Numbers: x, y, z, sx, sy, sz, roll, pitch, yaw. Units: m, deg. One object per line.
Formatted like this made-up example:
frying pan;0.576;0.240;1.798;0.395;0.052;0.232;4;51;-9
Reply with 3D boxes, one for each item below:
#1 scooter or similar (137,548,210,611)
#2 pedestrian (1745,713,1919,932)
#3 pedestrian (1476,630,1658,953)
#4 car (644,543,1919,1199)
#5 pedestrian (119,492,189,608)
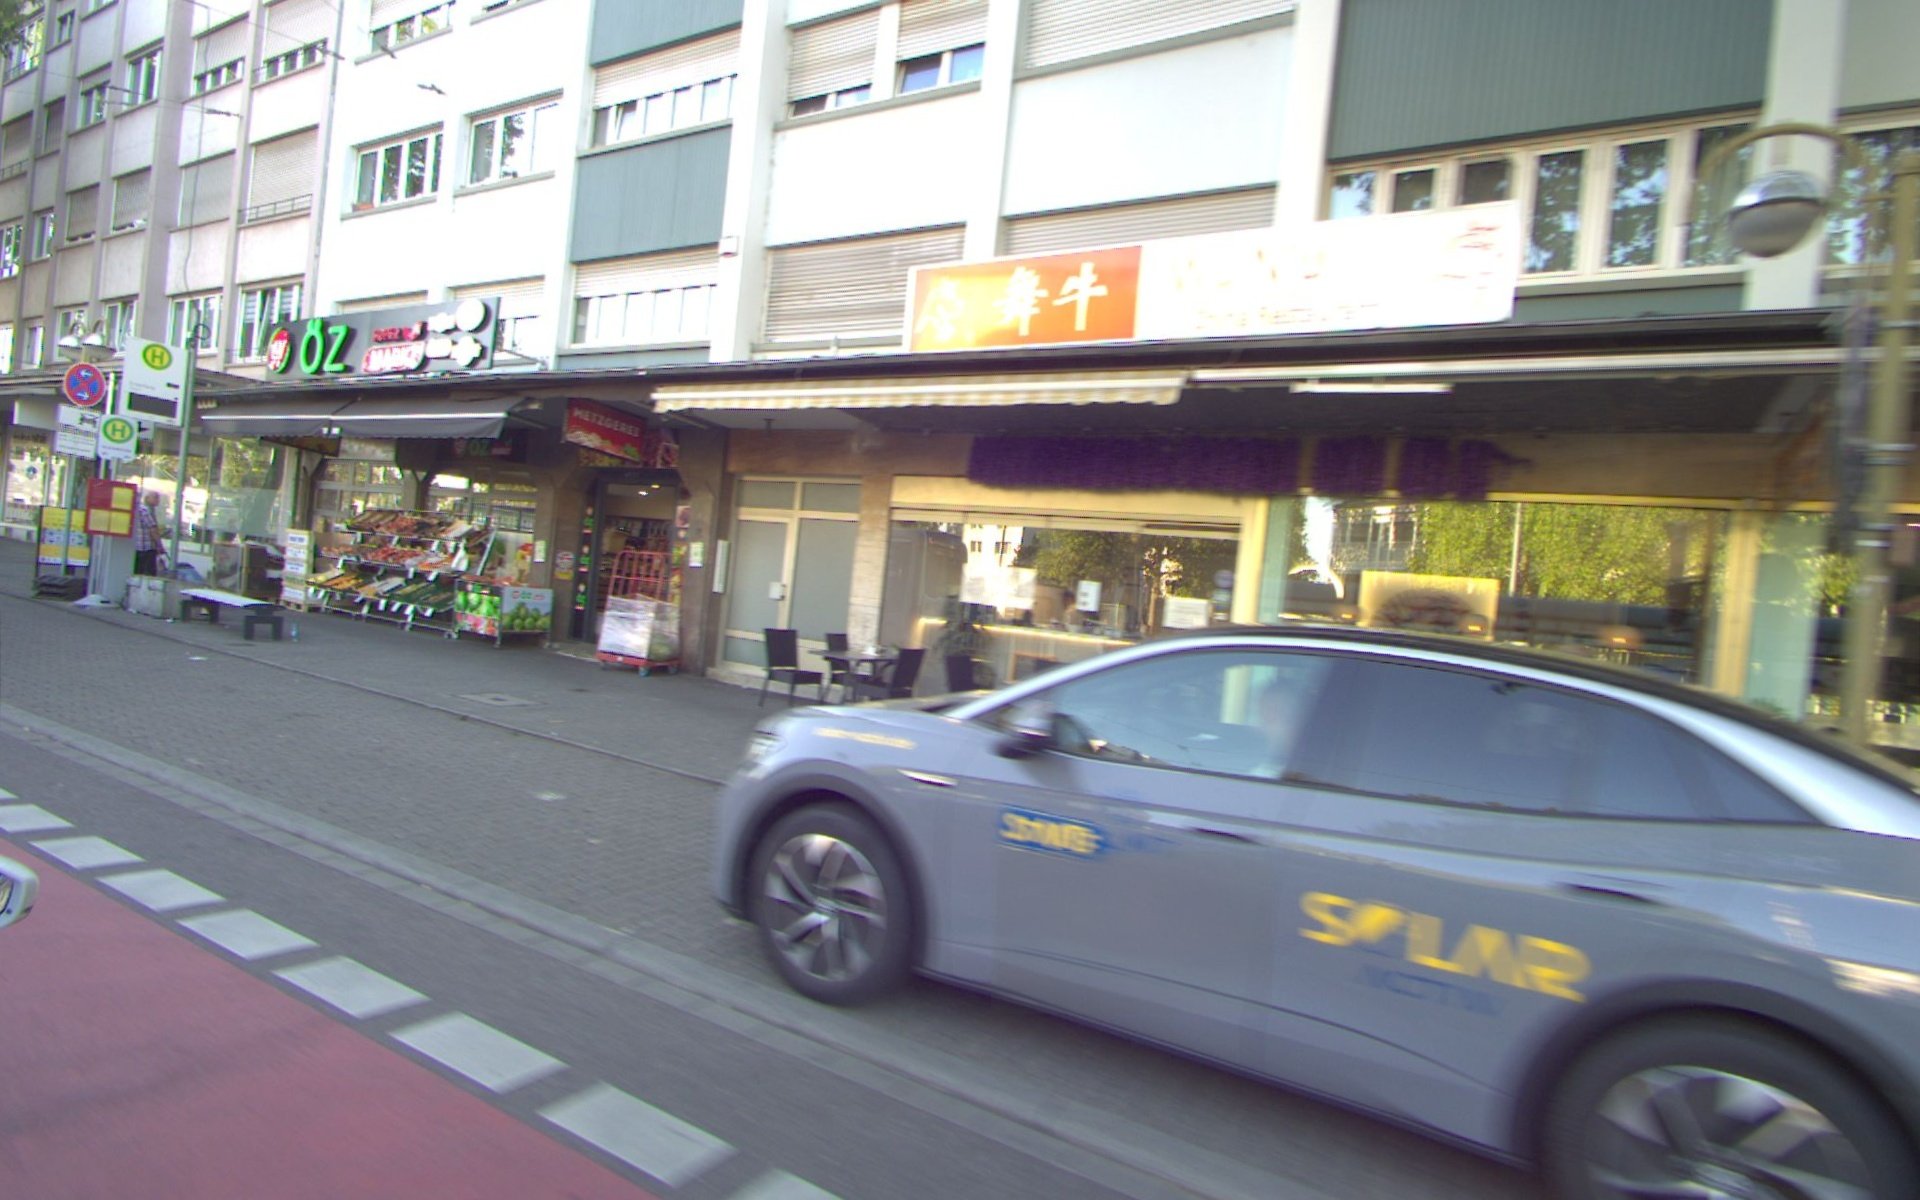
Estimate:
scooter or similar;-11.978;-0.314;15.325;0.721;0.854;0.576;6;0;29
pedestrian;5.839;1.446;6.753;0.698;1.243;0.676;7;2;31
pedestrian;3.386;1.013;5.667;0.666;1.606;0.708;7;2;29
car;1.308;0.860;3.787;4.708;1.618;1.920;7;1;28
pedestrian;-12.470;-0.768;15.571;0.548;1.694;0.644;7;0;42
